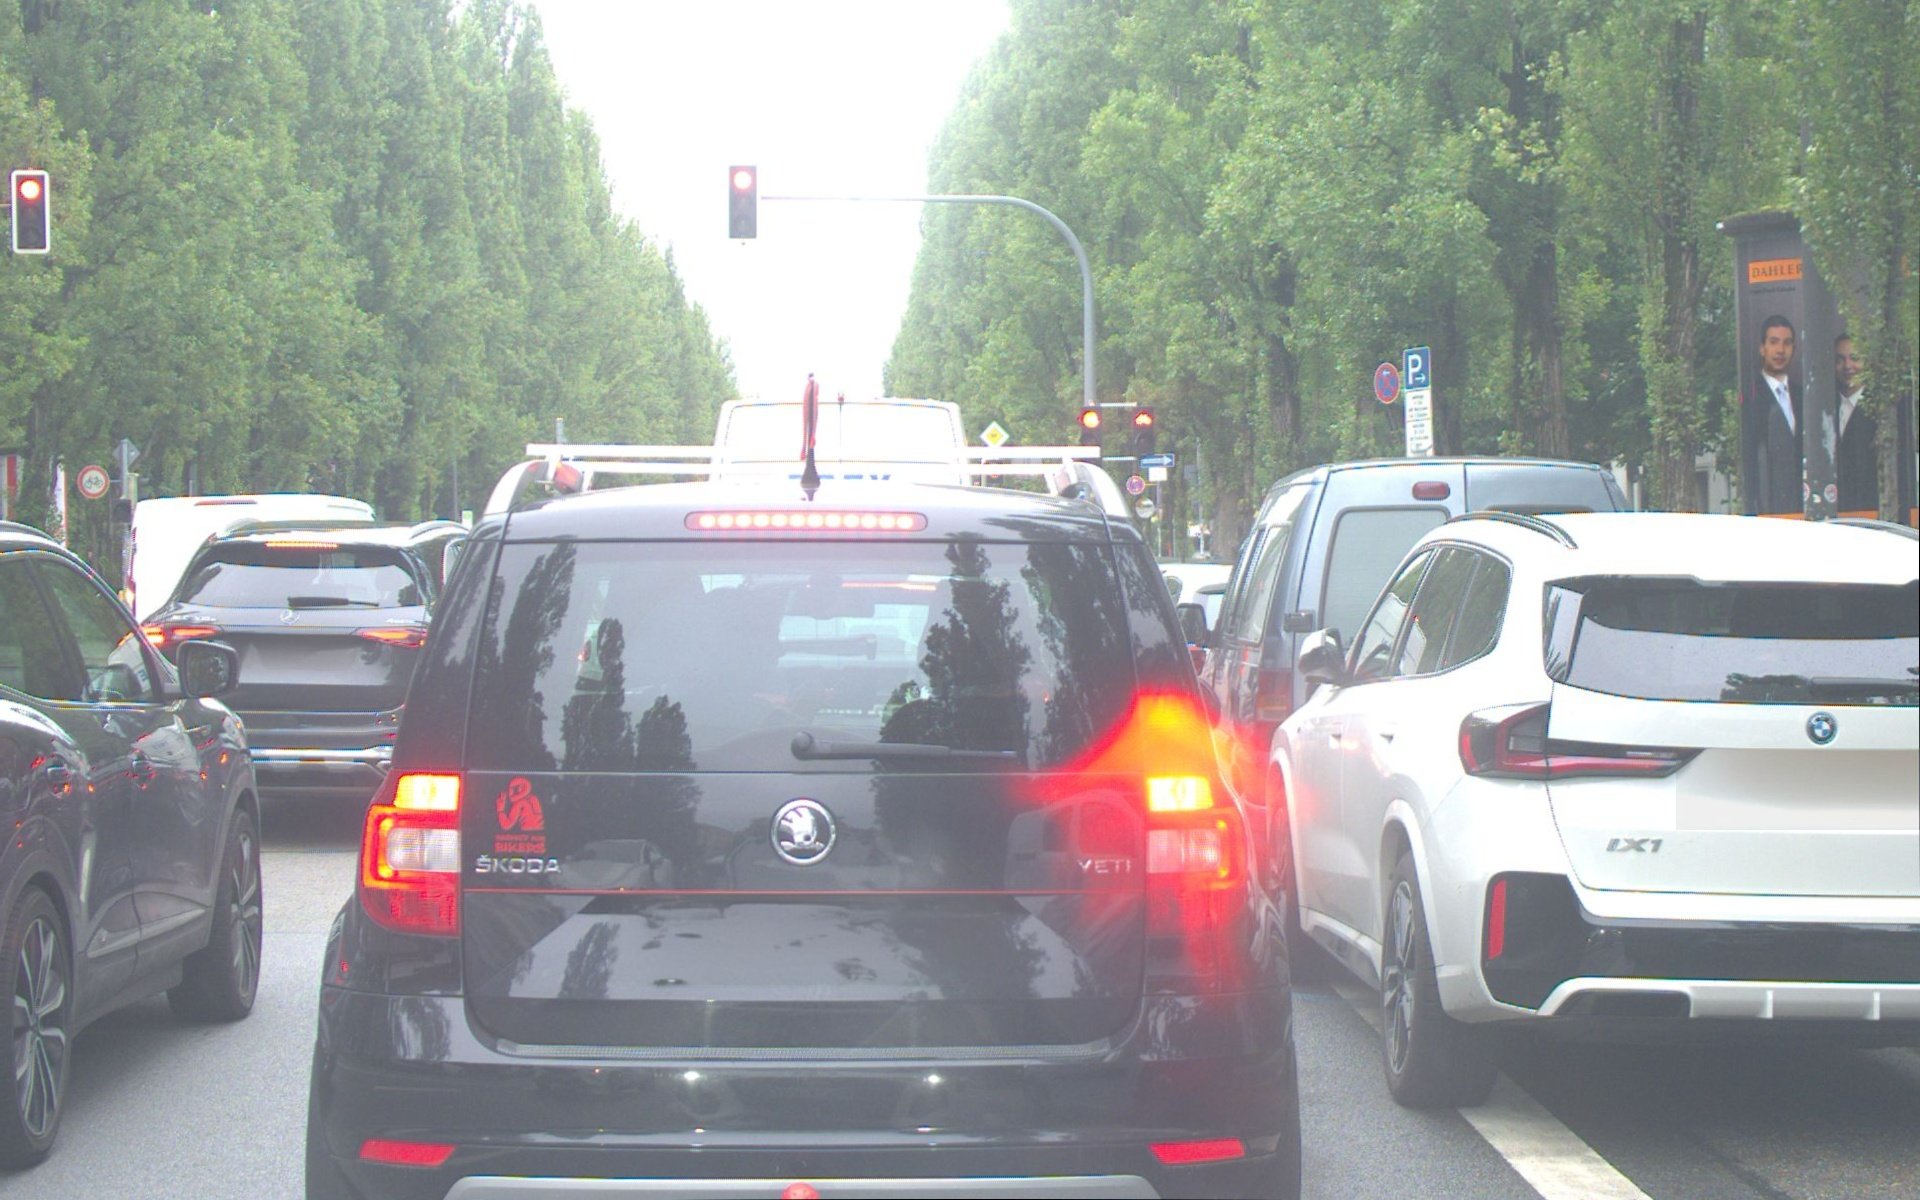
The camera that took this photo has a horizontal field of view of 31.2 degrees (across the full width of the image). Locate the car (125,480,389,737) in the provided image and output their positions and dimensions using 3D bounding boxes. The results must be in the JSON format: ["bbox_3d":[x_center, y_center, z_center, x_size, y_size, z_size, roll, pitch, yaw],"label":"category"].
[{"bbox_3d":[-6.186,0.037,30.649,1.781,2.104,4.025,-1,1,-4],"label":"car"}]

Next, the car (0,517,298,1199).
[{"bbox_3d":[-3.095,0.565,9.297,1.835,1.580,4.186,1,1,-1],"label":"car"}]

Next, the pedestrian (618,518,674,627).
[{"bbox_3d":[-5.861,-0.525,64.147,0.885,2.007,1.013,-1,1,2],"label":"pedestrian"}]

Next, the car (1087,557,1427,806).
[{"bbox_3d":[1.790,0.449,21.723,1.735,1.382,3.563,-1,1,-2],"label":"car"}]

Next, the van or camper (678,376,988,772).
[{"bbox_3d":[-0.933,-0.212,24.325,1.975,2.539,4.025,-1,1,-3],"label":"van or camper"}]

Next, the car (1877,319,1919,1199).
[{"bbox_3d":[2.443,0.548,3.303,1.851,1.875,4.169,-1,1,-2],"label":"car"}]

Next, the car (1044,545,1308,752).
[{"bbox_3d":[1.631,0.330,27.023,1.735,1.470,3.563,-1,1,-2],"label":"car"}]

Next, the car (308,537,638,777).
[{"bbox_3d":[-3.484,0.347,25.290,1.993,1.555,4.001,-1,2,-2],"label":"car"}]

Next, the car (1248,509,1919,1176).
[{"bbox_3d":[1.978,0.531,10.374,1.741,1.587,4.212,-1,1,-1],"label":"car"}]

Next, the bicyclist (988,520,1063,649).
[{"bbox_3d":[0.883,-0.214,46.450,0.905,1.716,0.825,-1,1,-4],"label":"bicyclist"}]

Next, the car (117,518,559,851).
[{"bbox_3d":[-3.265,0.366,18.751,1.781,1.614,4.025,0,1,-2],"label":"car"}]

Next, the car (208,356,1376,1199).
[{"bbox_3d":[-0.319,0.473,7.551,1.855,1.764,4.000,1,1,-1],"label":"car"}]

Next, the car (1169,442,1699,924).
[{"bbox_3d":[2.005,0.284,15.646,1.735,1.888,4.025,-1,1,-2],"label":"car"}]

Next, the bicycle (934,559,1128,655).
[{"bbox_3d":[0.950,0.086,46.380,2.535,1.233,0.813,-1,1,-3],"label":"bicycle"}]
